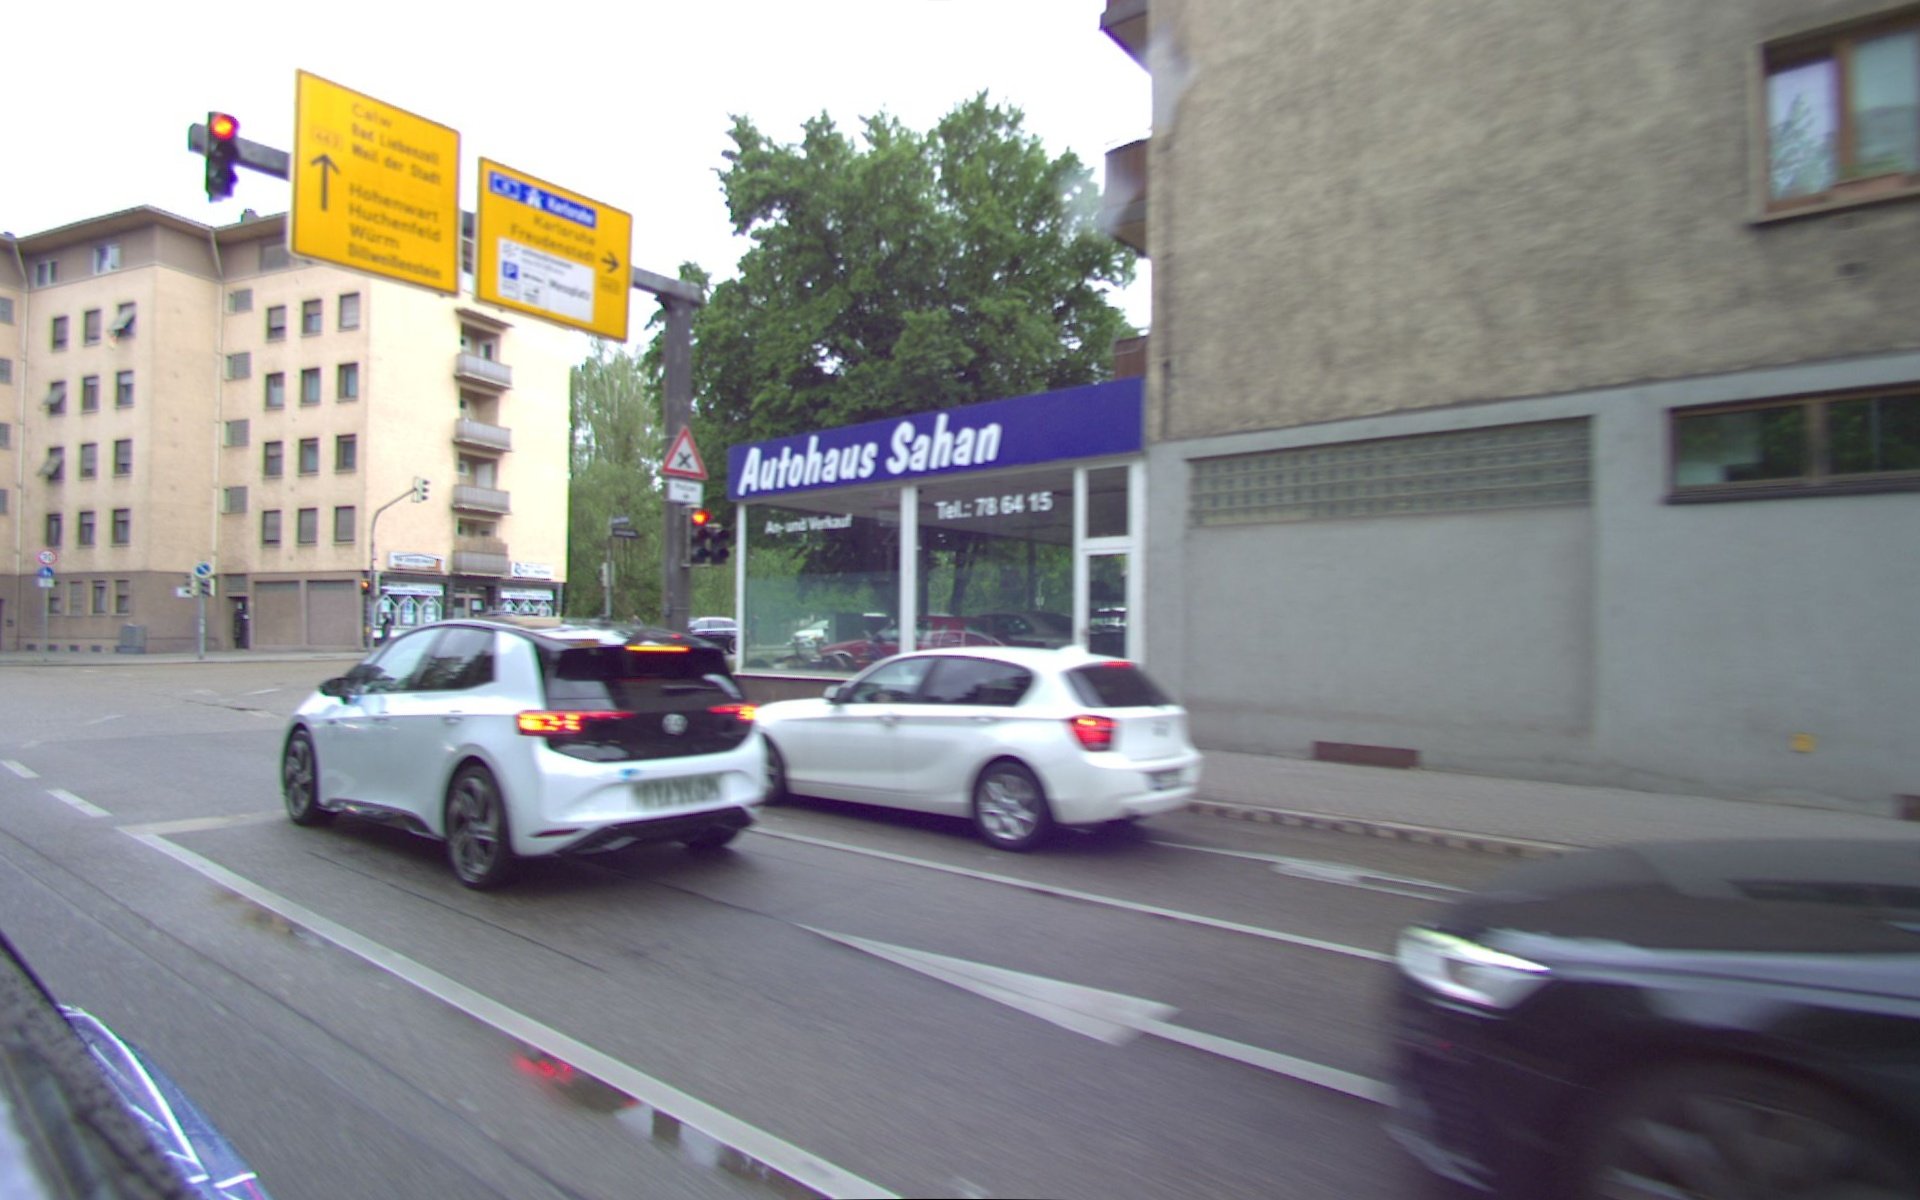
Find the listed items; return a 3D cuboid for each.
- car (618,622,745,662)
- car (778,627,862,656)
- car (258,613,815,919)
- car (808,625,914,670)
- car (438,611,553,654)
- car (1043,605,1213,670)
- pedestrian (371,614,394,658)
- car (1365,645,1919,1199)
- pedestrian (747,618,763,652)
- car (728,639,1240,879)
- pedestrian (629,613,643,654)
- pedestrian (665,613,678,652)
[{"bbox_3d":[-10.806,1.596,39.545,1.998,1.474,4.446,-1,-2,40],"label":"car"},{"bbox_3d":[-6.744,1.968,49.068,1.652,1.319,3.944,-1,-2,42],"label":"car"},{"bbox_3d":[-3.115,0.894,7.039,4.212,1.507,1.767,-1,-4,39],"label":"car"},{"bbox_3d":[-3.829,1.846,39.886,1.839,1.684,4.423,-1,-2,33],"label":"car"},{"bbox_3d":[-19.618,1.365,42.809,4.242,1.660,1.751,1,-1,15],"label":"car"},{"bbox_3d":[5.054,1.124,30.727,4.733,1.844,1.959,-1,-2,35],"label":"car"},{"bbox_3d":[-22.172,1.376,38.849,0.573,1.651,0.619,2,-3,-45],"label":"pedestrian"},{"bbox_3d":[3.246,0.813,1.477,4.623,1.418,1.771,-1,-3,42],"label":"car"},{"bbox_3d":[-10.005,1.710,49.381,0.692,1.659,0.661,0,-2,-7],"label":"pedestrian"},{"bbox_3d":[0.048,1.084,8.237,3.995,1.467,1.641,-1,-4,39],"label":"car"},{"bbox_3d":[-14.607,1.508,45.666,0.550,1.817,0.477,0,-2,-10],"label":"pedestrian"},{"bbox_3d":[-13.481,1.525,47.292,0.500,1.817,0.499,1,-2,-24],"label":"pedestrian"}]
